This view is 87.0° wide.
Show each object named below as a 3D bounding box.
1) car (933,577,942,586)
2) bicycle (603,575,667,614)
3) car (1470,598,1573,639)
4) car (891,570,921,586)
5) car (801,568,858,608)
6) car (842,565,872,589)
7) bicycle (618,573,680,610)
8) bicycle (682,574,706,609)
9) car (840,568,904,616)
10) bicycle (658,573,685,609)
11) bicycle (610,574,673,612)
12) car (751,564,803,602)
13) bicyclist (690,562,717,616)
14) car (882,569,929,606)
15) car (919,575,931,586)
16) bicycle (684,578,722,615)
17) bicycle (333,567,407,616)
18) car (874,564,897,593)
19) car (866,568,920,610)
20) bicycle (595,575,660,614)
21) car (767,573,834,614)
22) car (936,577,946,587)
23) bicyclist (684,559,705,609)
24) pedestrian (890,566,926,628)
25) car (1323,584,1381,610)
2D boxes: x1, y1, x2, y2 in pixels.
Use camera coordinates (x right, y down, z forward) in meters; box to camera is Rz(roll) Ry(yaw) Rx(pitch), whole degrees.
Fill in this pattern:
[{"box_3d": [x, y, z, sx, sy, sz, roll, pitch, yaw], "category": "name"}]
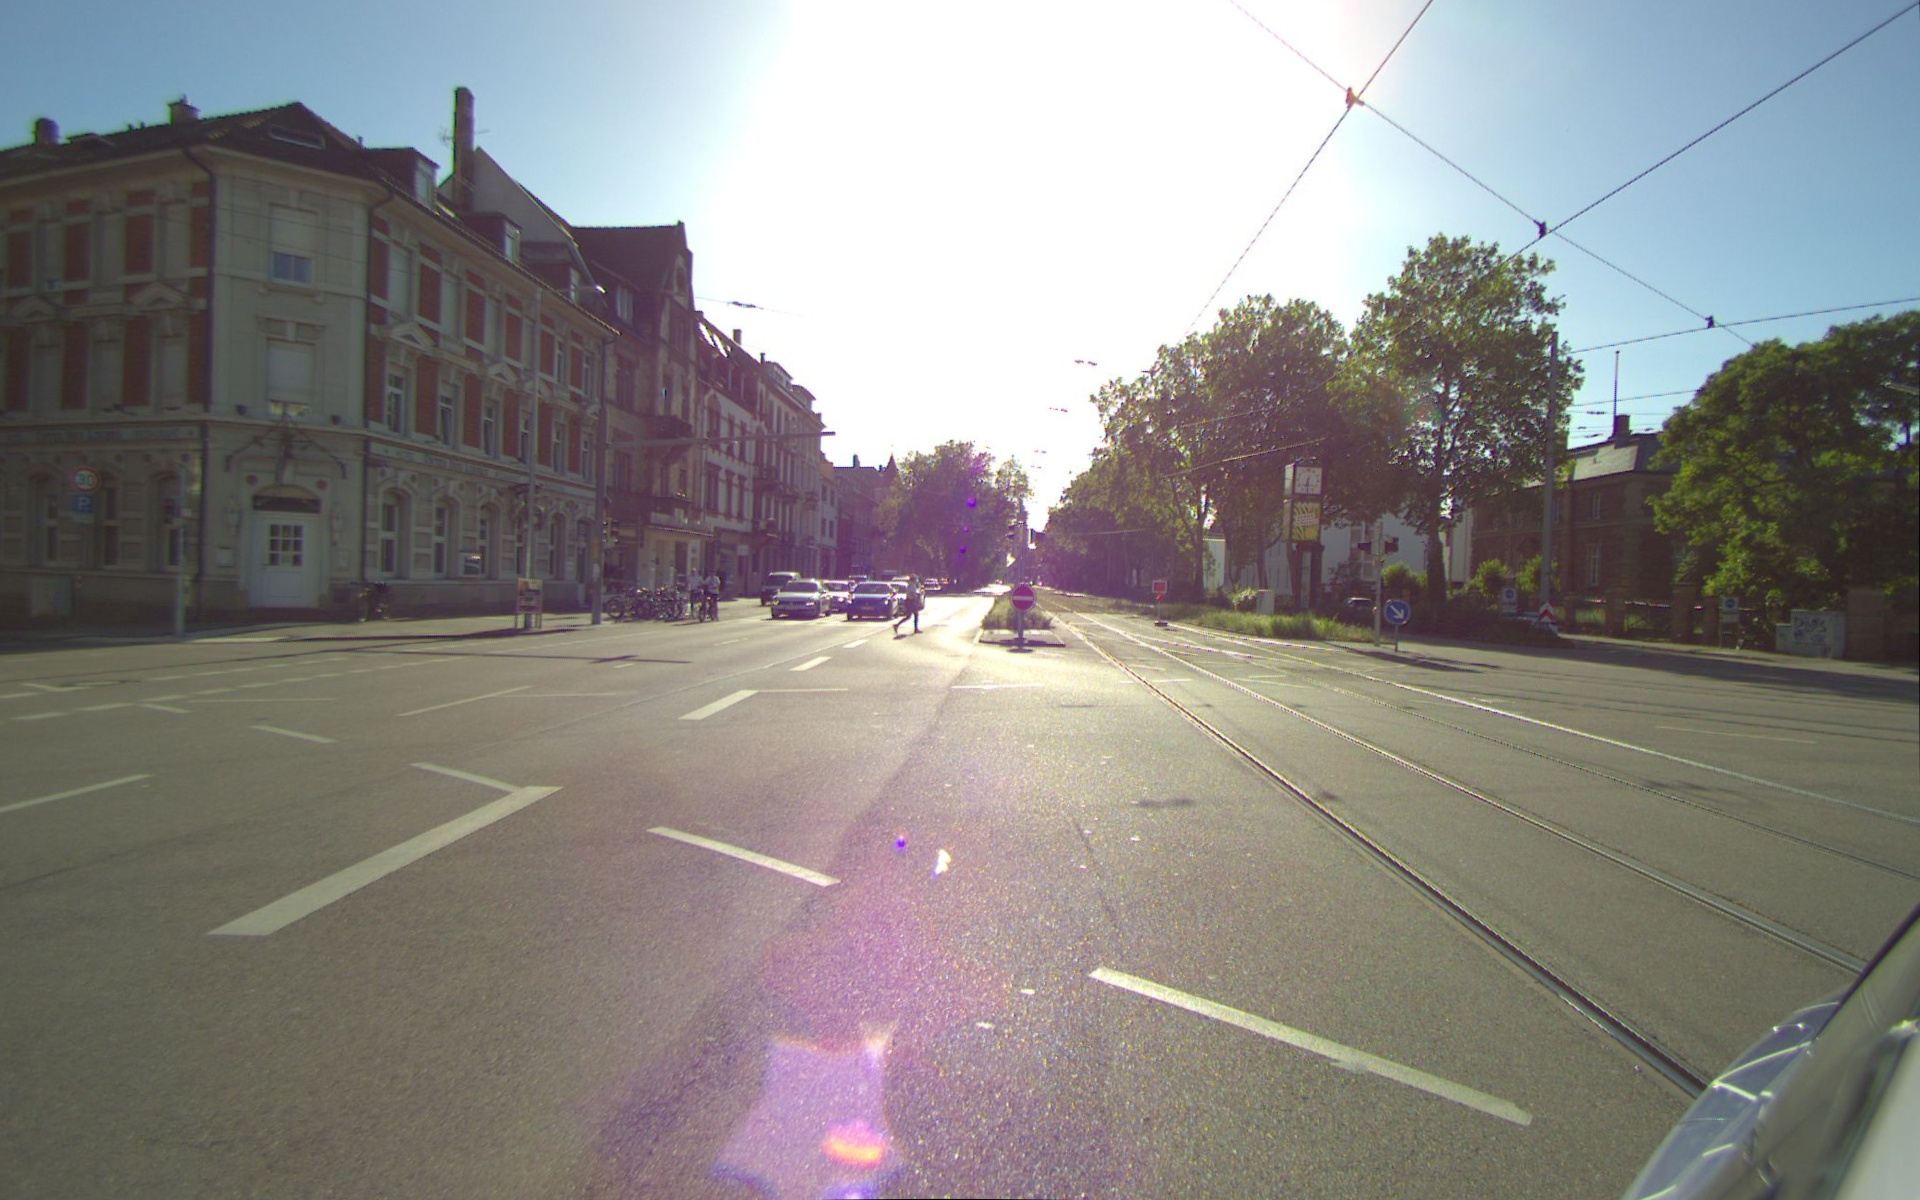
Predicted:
[{"box_3d": [-4.926, -4.094, 219.731, 1.917, 1.855, 4.002, 2, 2, -2], "category": "car"}, {"box_3d": [-11.039, -0.193, 34.357, 1.932, 1.205, 0.679, 2, 1, 5], "category": "bicycle"}, {"box_3d": [24.300, 0.749, 44.039, 1.882, 1.471, 4.504, 2, 2, 0], "category": "car"}, {"box_3d": [-7.902, -3.221, 149.113, 3.945, 2.121, 1.945, 3, 2, 16], "category": "car"}, {"box_3d": [-5.947, -0.576, 46.419, 1.919, 1.688, 3.999, 2, 2, 2], "category": "car"}, {"box_3d": [-8.770, -1.959, 86.492, 1.919, 1.884, 4.802, 2, 2, 2], "category": "car"}, {"box_3d": [-10.962, -0.300, 35.685, 1.932, 1.205, 0.679, 2, 1, 5], "category": "bicycle"}, {"box_3d": [-9.650, -0.317, 36.774, 0.589, 1.205, 1.971, 2, 2, -8], "category": "bicycle"}, {"box_3d": [-3.348, -0.346, 39.103, 1.919, 1.688, 3.999, 2, 2, 2], "category": "car"}, {"box_3d": [-10.508, -0.345, 36.905, 0.665, 1.205, 1.971, 2, 2, -8], "category": "bicycle"}, {"box_3d": [-11.005, -0.245, 35.009, 1.932, 1.205, 0.679, 2, 1, 5], "category": "bicycle"}, {"box_3d": [-10.153, -0.973, 56.525, 1.919, 1.989, 4.417, 2, 2, 2], "category": "car"}, {"box_3d": [-8.793, -0.389, 34.684, 0.591, 1.785, 0.874, 2, 1, 6], "category": "bicyclist"}, {"box_3d": [-2.665, -0.657, 50.537, 1.919, 1.688, 4.485, 2, 2, 2], "category": "car"}, {"box_3d": [-5.876, -3.282, 169.317, 1.917, 1.855, 4.002, 2, 2, -2], "category": "car"}, {"box_3d": [-8.802, -0.126, 34.753, 0.591, 1.205, 1.965, 2, 2, 5], "category": "bicycle"}, {"box_3d": [-15.356, -0.243, 26.392, 0.537, 1.205, 1.963, 2, 2, 8], "category": "bicycle"}, {"box_3d": [-8.029, -2.377, 109.950, 2.160, 2.944, 5.962, 2, 2, -2], "category": "car"}, {"box_3d": [-2.896, -0.537, 44.640, 1.919, 1.688, 3.999, 2, 2, 2], "category": "car"}, {"box_3d": [-11.048, -0.200, 33.651, 1.932, 1.205, 0.679, 2, 1, 5], "category": "bicycle"}, {"box_3d": [-6.186, -0.278, 39.597, 1.812, 1.429, 3.999, 2, 2, 2], "category": "car"}, {"box_3d": [-3.886, -3.723, 209.355, 1.917, 1.855, 4.002, 2, 2, -2], "category": "car"}, {"box_3d": [-9.630, -0.582, 36.748, 0.589, 1.785, 0.908, 2, 1, -8], "category": "bicyclist"}, {"box_3d": [-1.477, -0.087, 28.665, 0.921, 1.690, 0.718, 2, 1, -3], "category": "pedestrian"}, {"box_3d": [25.084, -0.223, 64.865, 1.882, 1.471, 4.504, 2, 2, 0], "category": "car"}]
